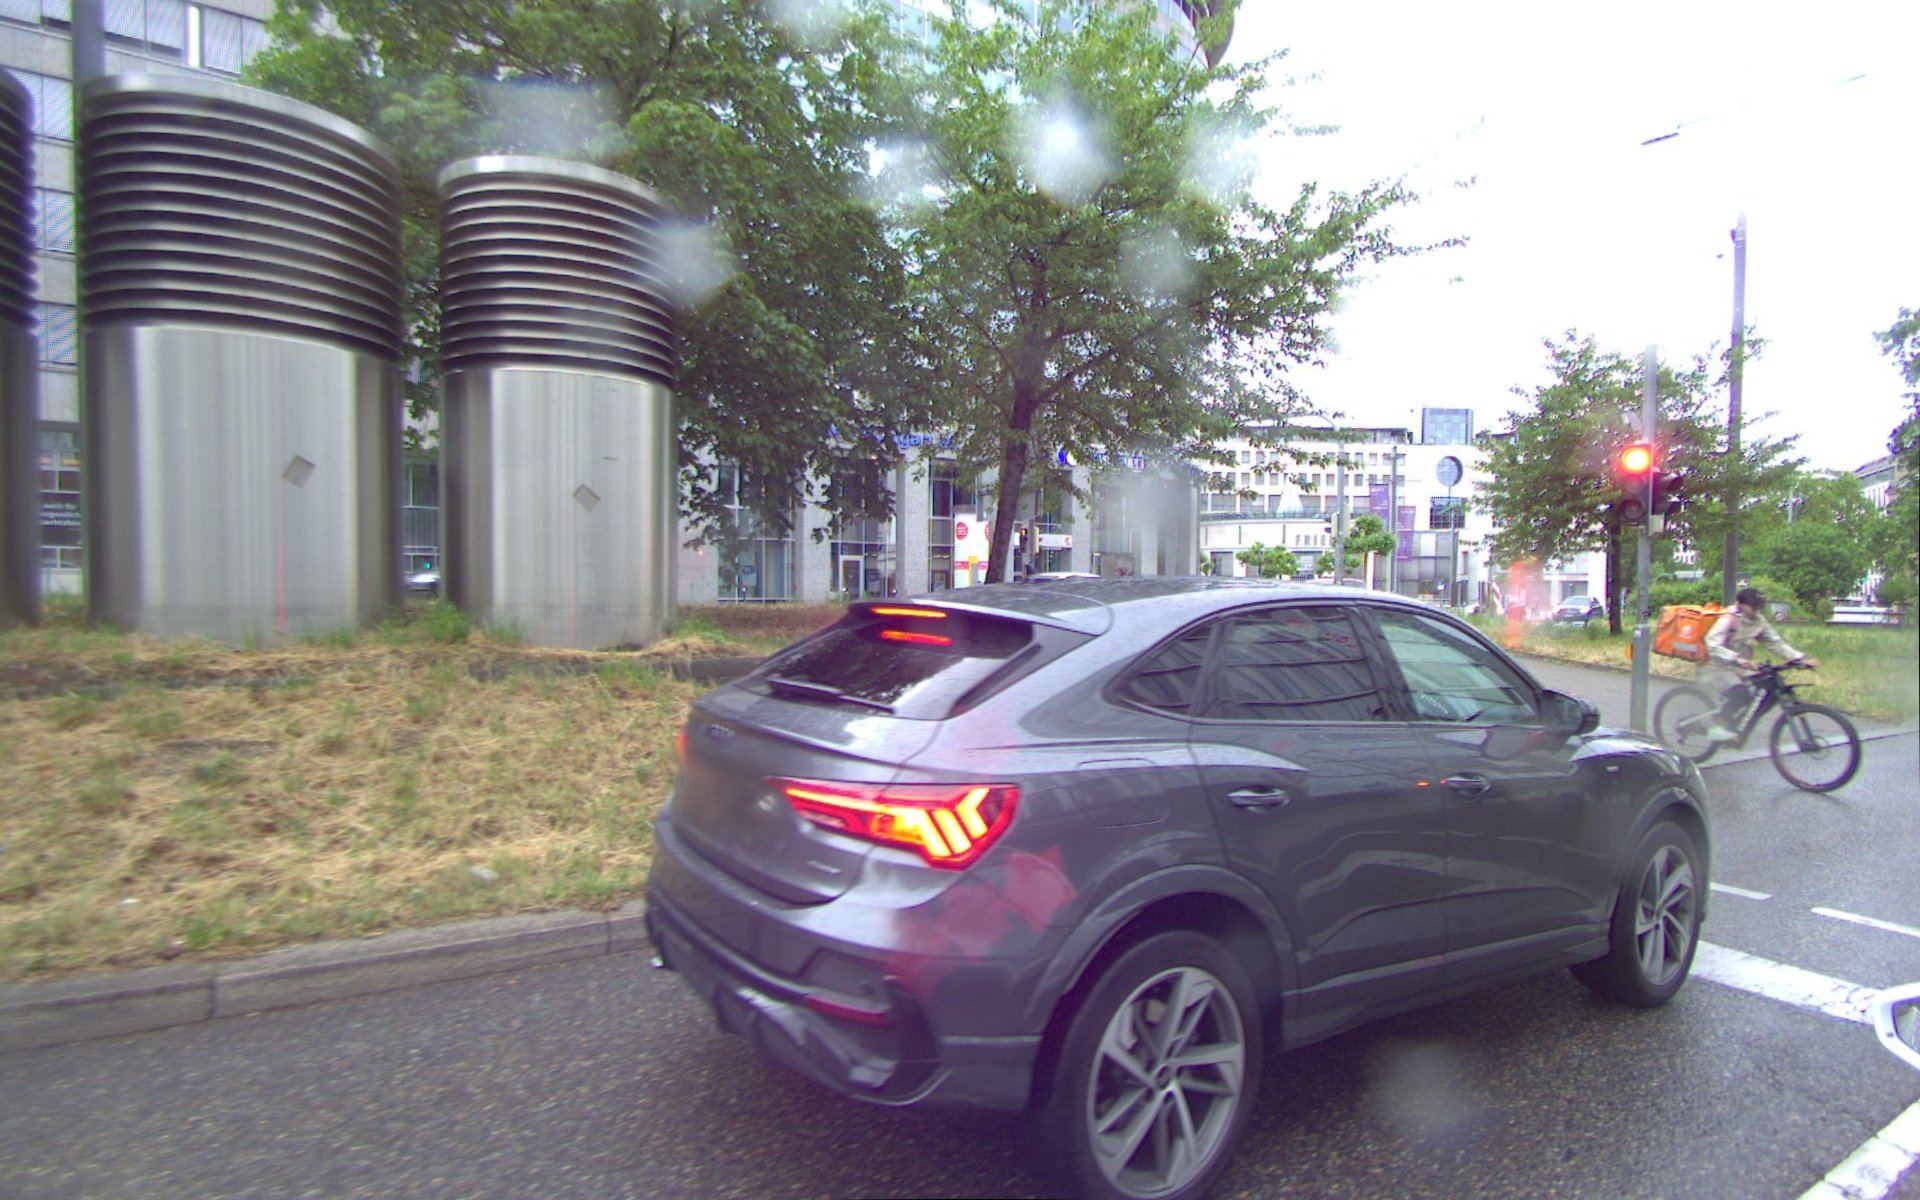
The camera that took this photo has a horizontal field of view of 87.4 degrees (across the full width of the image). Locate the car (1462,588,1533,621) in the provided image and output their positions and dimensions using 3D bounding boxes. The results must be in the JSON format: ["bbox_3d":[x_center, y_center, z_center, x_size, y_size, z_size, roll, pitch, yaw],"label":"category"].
[{"bbox_3d":[26.386,0.225,49.267,3.970,1.506,1.788,1,3,-42],"label":"car"}]

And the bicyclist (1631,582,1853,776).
[{"bbox_3d":[7.109,0.679,9.202,0.996,1.603,1.134,2,3,-7],"label":"bicyclist"}]

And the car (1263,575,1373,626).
[{"bbox_3d":[13.330,0.030,37.260,4.543,1.750,1.710,1,1,-39],"label":"car"}]

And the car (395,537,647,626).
[{"bbox_3d":[-8.123,-0.313,18.715,3.966,1.495,1.852,1,1,-39],"label":"car"}]

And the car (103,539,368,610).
[{"bbox_3d":[-15.331,-0.503,21.483,4.435,1.343,1.878,1,1,-37],"label":"car"}]

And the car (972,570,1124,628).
[{"bbox_3d":[2.510,-0.020,28.216,4.157,1.495,1.805,1,1,-39],"label":"car"}]

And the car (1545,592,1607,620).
[{"bbox_3d":[36.359,0.365,59.253,4.347,1.506,1.789,1,3,-40],"label":"car"}]

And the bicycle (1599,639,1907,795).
[{"bbox_3d":[7.083,0.998,9.164,0.993,1.128,2.065,3,0,-7],"label":"bicycle"}]

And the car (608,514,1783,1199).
[{"bbox_3d":[1.081,0.645,3.727,4.206,1.638,1.837,0,2,-33],"label":"car"}]

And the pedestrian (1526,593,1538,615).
[{"bbox_3d":[54.704,0.415,96.063,0.778,2.041,0.738,4,3,33],"label":"pedestrian"}]

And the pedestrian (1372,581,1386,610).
[{"bbox_3d":[26.442,-0.268,63.428,0.613,1.786,0.721,-1,-2,44],"label":"pedestrian"}]
